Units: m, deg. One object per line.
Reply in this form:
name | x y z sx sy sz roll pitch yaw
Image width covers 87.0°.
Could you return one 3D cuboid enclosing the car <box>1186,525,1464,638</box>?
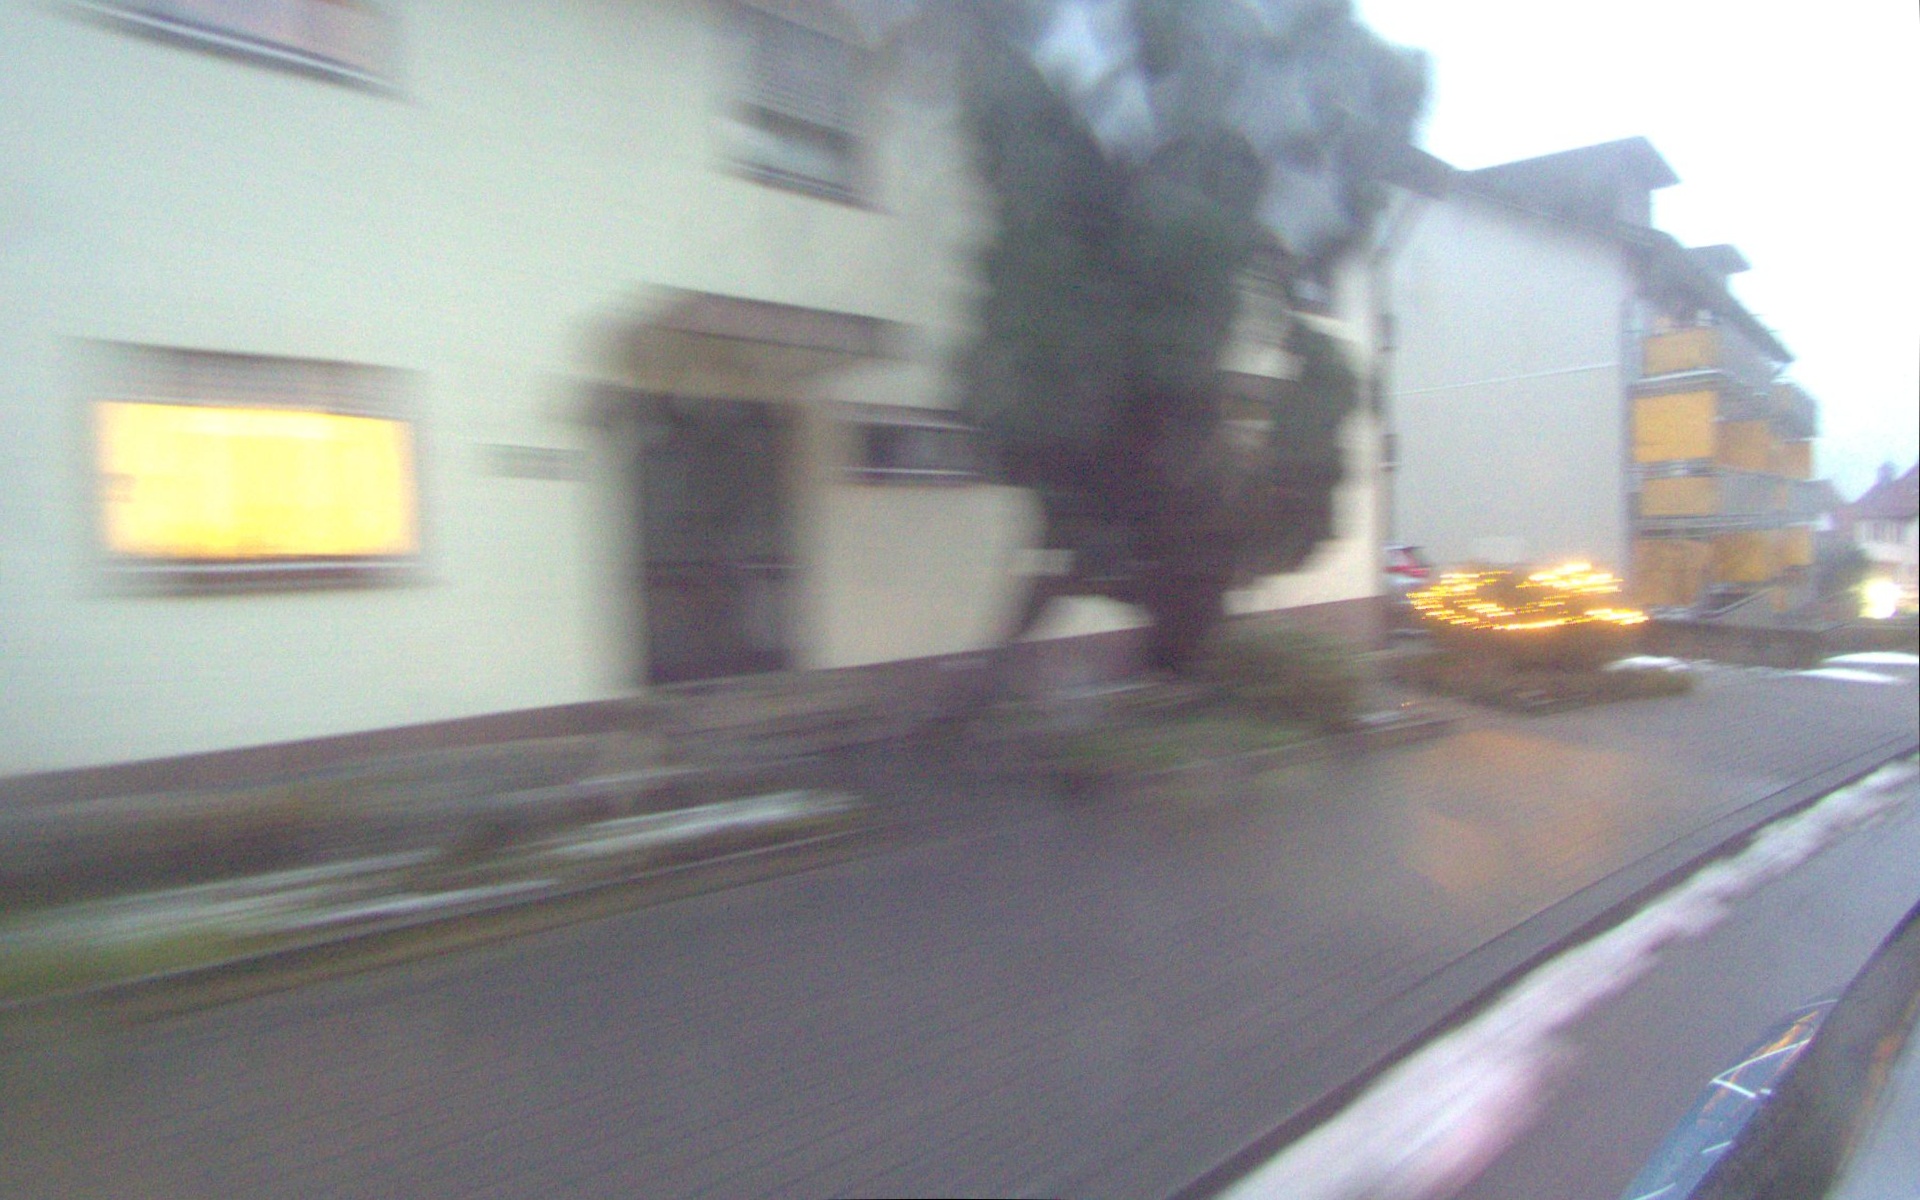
car | 6.561 -0.414 18.458 4.250 1.668 2.033 6 5 41
